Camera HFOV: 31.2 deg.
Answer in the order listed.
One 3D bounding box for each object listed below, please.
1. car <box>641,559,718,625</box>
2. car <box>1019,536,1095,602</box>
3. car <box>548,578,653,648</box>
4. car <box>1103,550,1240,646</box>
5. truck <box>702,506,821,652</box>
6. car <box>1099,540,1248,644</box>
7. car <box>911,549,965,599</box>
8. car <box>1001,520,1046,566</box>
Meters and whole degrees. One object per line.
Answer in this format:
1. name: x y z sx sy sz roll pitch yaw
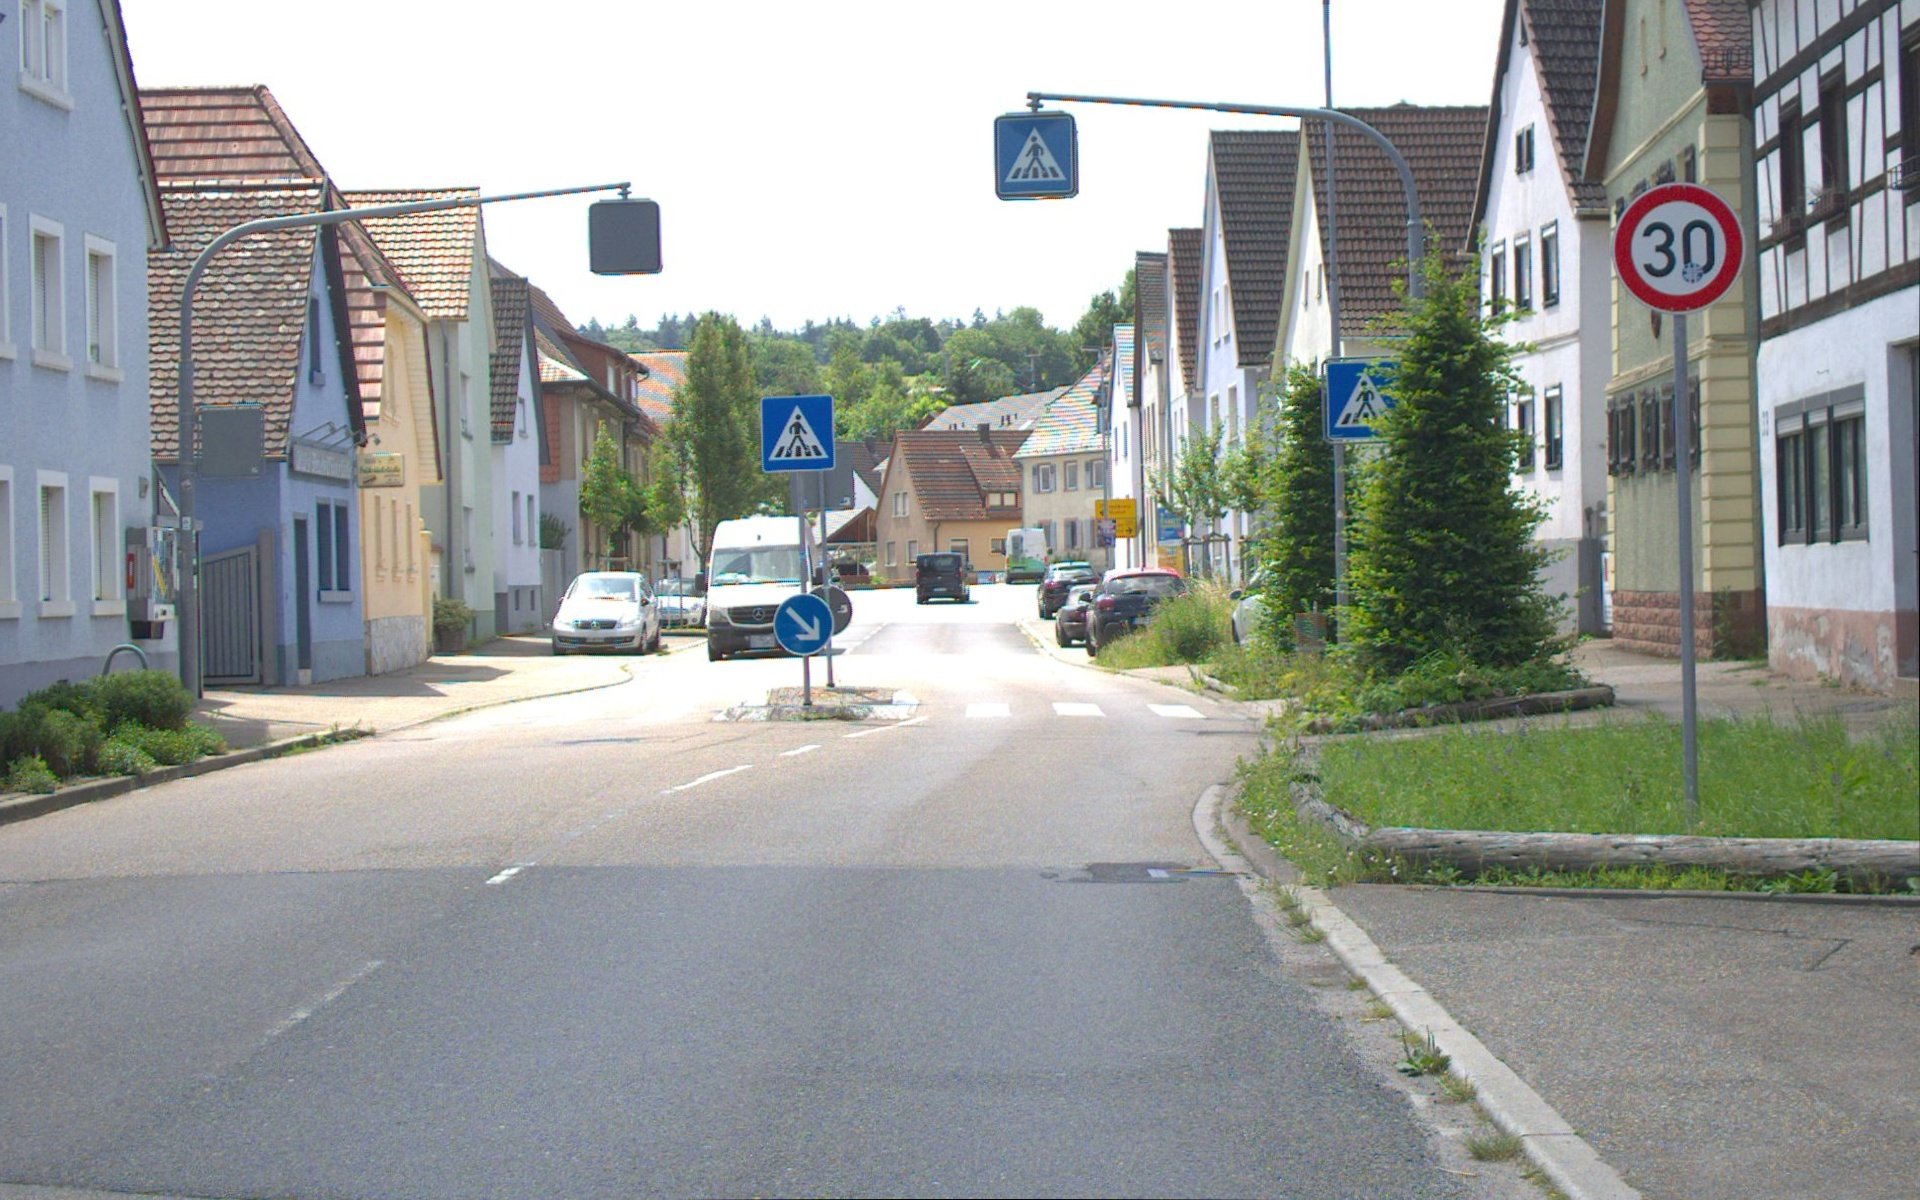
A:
1. car: -7.158 -0.196 88.038 1.667 1.591 4.000 0 -1 -1
2. car: 2.808 -0.879 100.641 1.993 1.810 4.000 0 -1 -2
3. car: -7.080 0.277 67.767 1.993 1.317 3.709 0 -1 -6
4. car: 3.470 0.000 57.096 1.993 1.503 4.000 0 -1 -1
5. truck: -3.636 -0.325 64.053 1.993 2.528 6.739 0 -1 -1
6. car: 3.240 -0.095 52.928 1.993 1.503 4.000 0 -1 -1
7. car: -0.877 -1.007 134.272 1.993 1.810 4.000 0 -1 -2
8. car: 2.933 -2.638 159.536 1.993 2.007 4.000 0 -1 -1
